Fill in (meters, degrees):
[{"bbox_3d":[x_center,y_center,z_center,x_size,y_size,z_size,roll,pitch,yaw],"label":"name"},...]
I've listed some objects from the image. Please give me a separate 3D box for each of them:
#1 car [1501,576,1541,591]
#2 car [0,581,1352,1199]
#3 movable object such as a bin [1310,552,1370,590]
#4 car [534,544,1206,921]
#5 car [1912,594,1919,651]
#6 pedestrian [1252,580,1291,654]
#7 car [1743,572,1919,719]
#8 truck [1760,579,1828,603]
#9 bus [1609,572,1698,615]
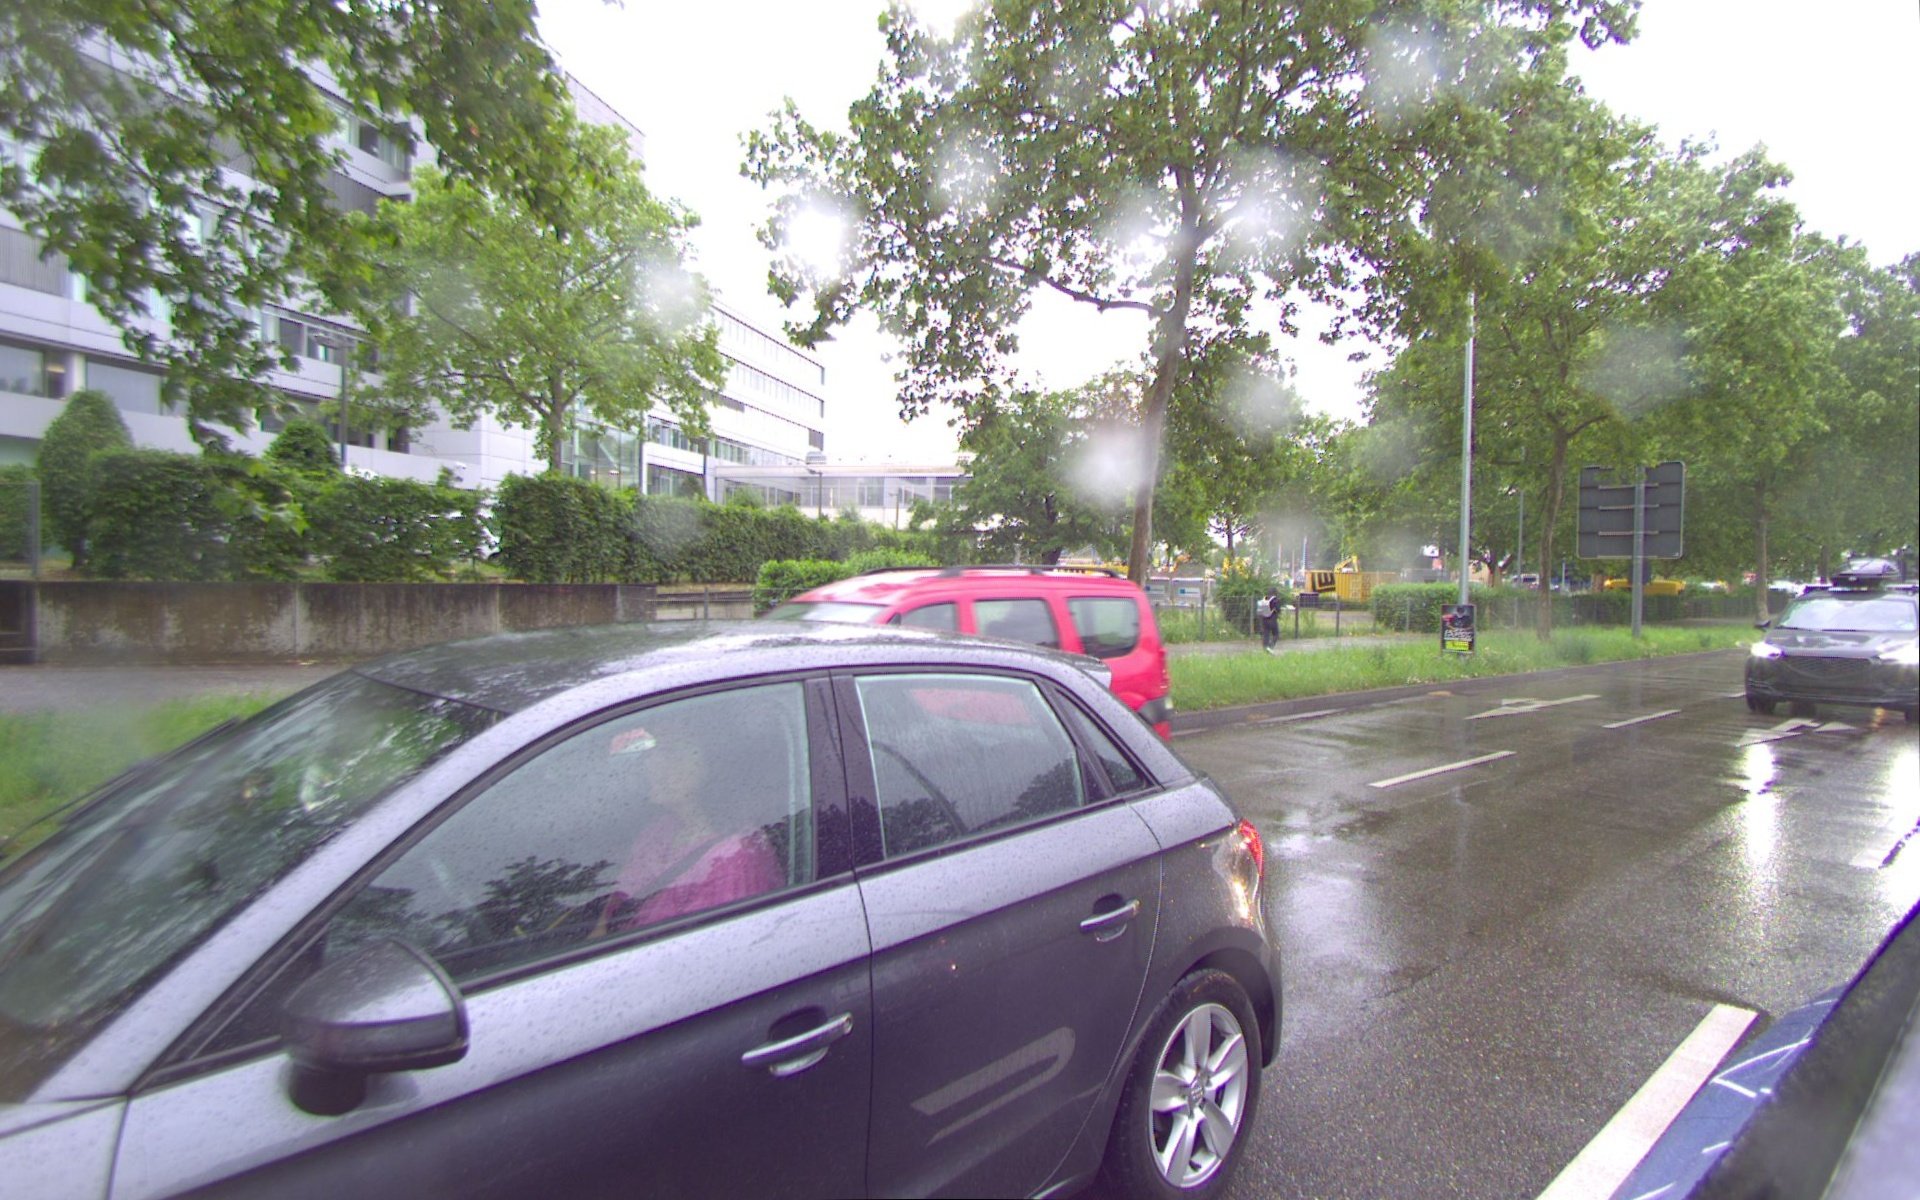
[{"bbox_3d":[53.156,-1.581,95.936,3.115,1.346,1.419,0,0,23],"label":"car"},{"bbox_3d":[-0.892,0.695,2.135,3.715,1.446,1.679,0,1,-41],"label":"car"},{"bbox_3d":[35.595,-2.677,94.792,1.887,3.478,4.924,0,0,-45],"label":"movable object such as a bin"},{"bbox_3d":[-0.344,0.564,6.632,4.198,1.715,1.713,-1,1,-41],"label":"car"},{"bbox_3d":[26.410,0.594,26.734,3.331,1.481,1.571,0,0,-42],"label":"car"},{"bbox_3d":[7.405,0.394,24.066,0.645,1.738,0.645,0,0,-40],"label":"pedestrian"},{"bbox_3d":[12.417,0.515,13.879,4.347,1.719,1.892,0,1,-42],"label":"car"},{"bbox_3d":[85.202,-0.913,103.450,4.988,2.406,1.785,0,0,19],"label":"truck"},{"bbox_3d":[43.731,-0.414,63.905,1.681,2.600,4.366,0,0,-41],"label":"bus"}]
